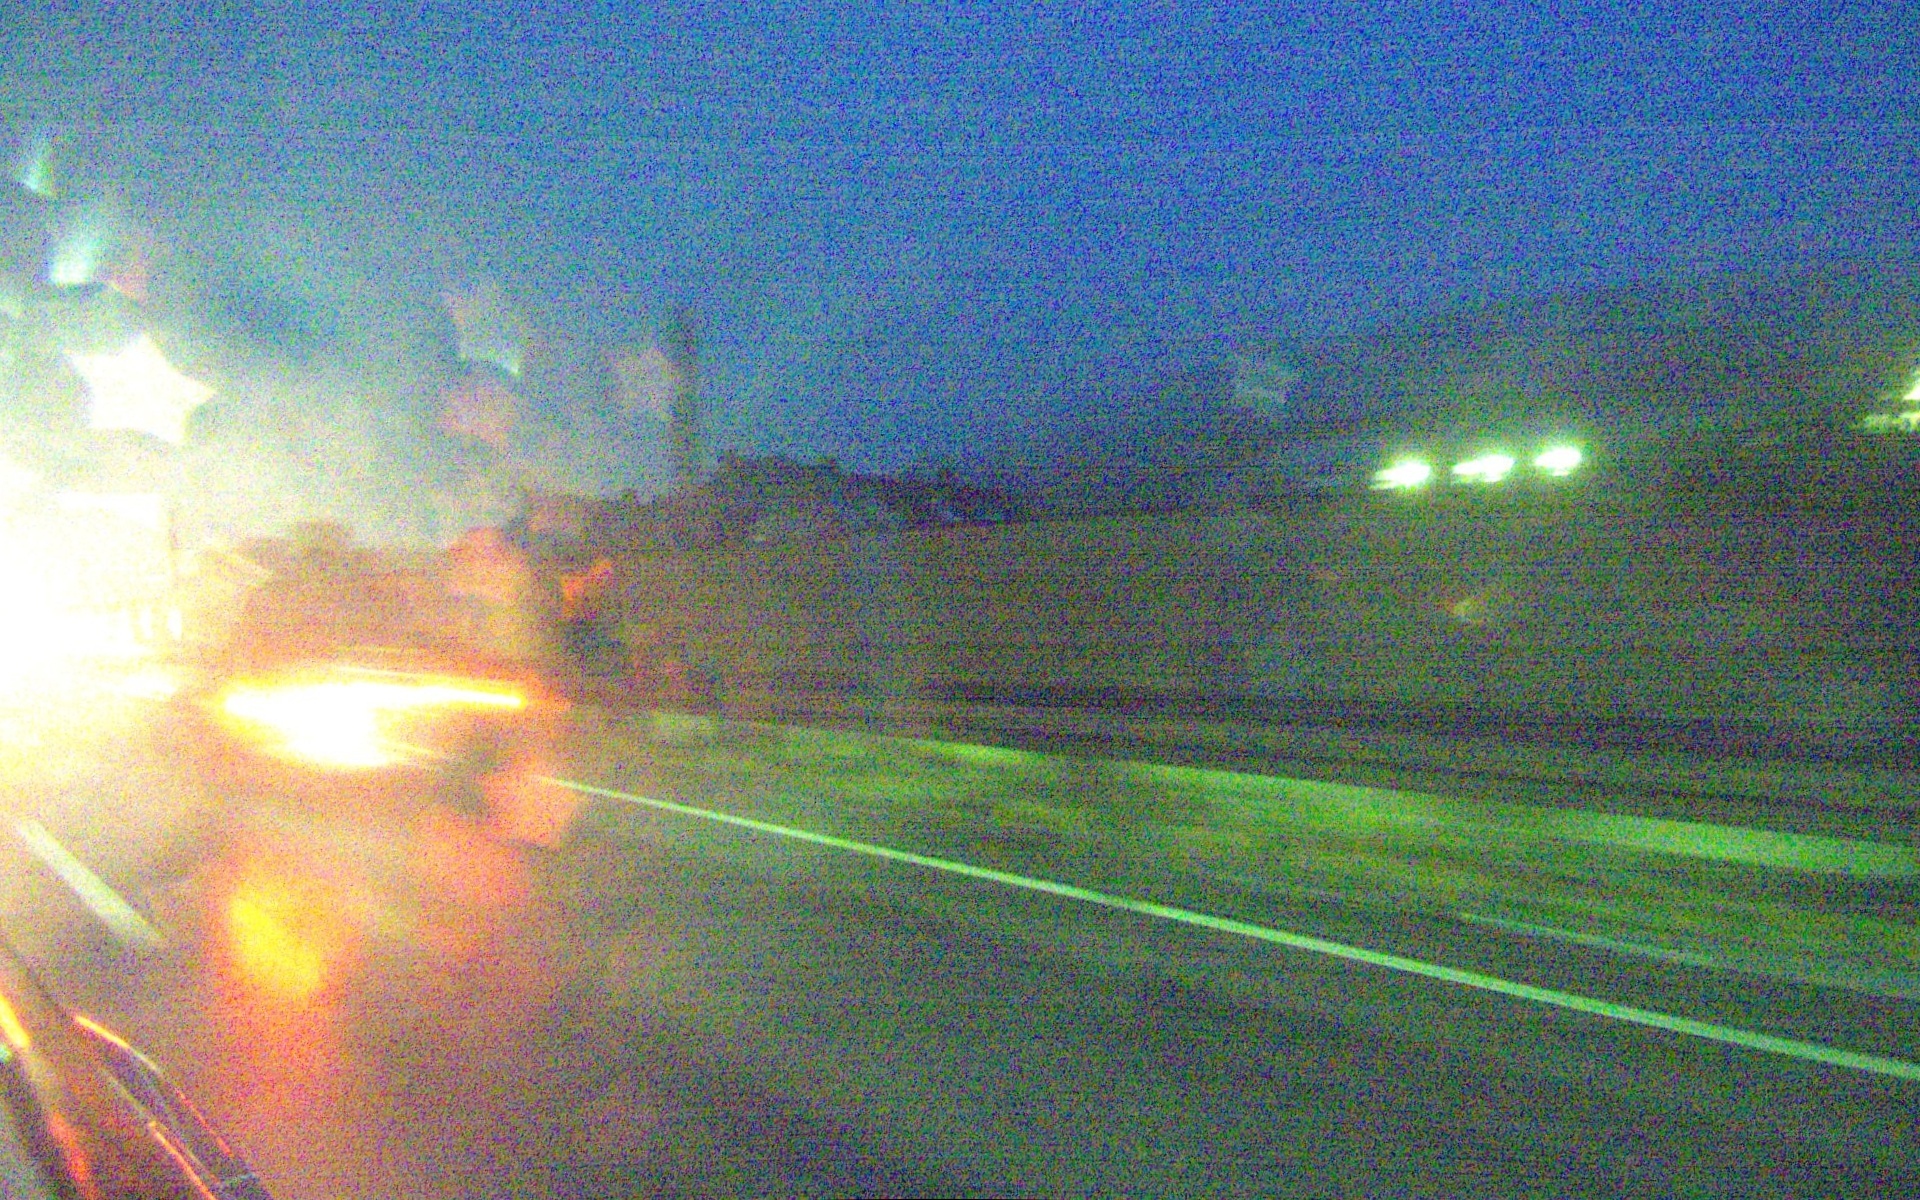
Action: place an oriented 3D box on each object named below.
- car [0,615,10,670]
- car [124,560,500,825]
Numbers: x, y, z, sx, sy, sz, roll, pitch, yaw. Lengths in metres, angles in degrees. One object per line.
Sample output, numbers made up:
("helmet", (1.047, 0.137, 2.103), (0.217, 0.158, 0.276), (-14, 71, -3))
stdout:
("car", (-32.872, 1.407, 33.523), (3.876, 1.773, 1.724), (-2, -1, 42))
("car", (-5.824, 0.673, 8.926), (3.875, 1.837, 1.725), (-2, -1, 40))
